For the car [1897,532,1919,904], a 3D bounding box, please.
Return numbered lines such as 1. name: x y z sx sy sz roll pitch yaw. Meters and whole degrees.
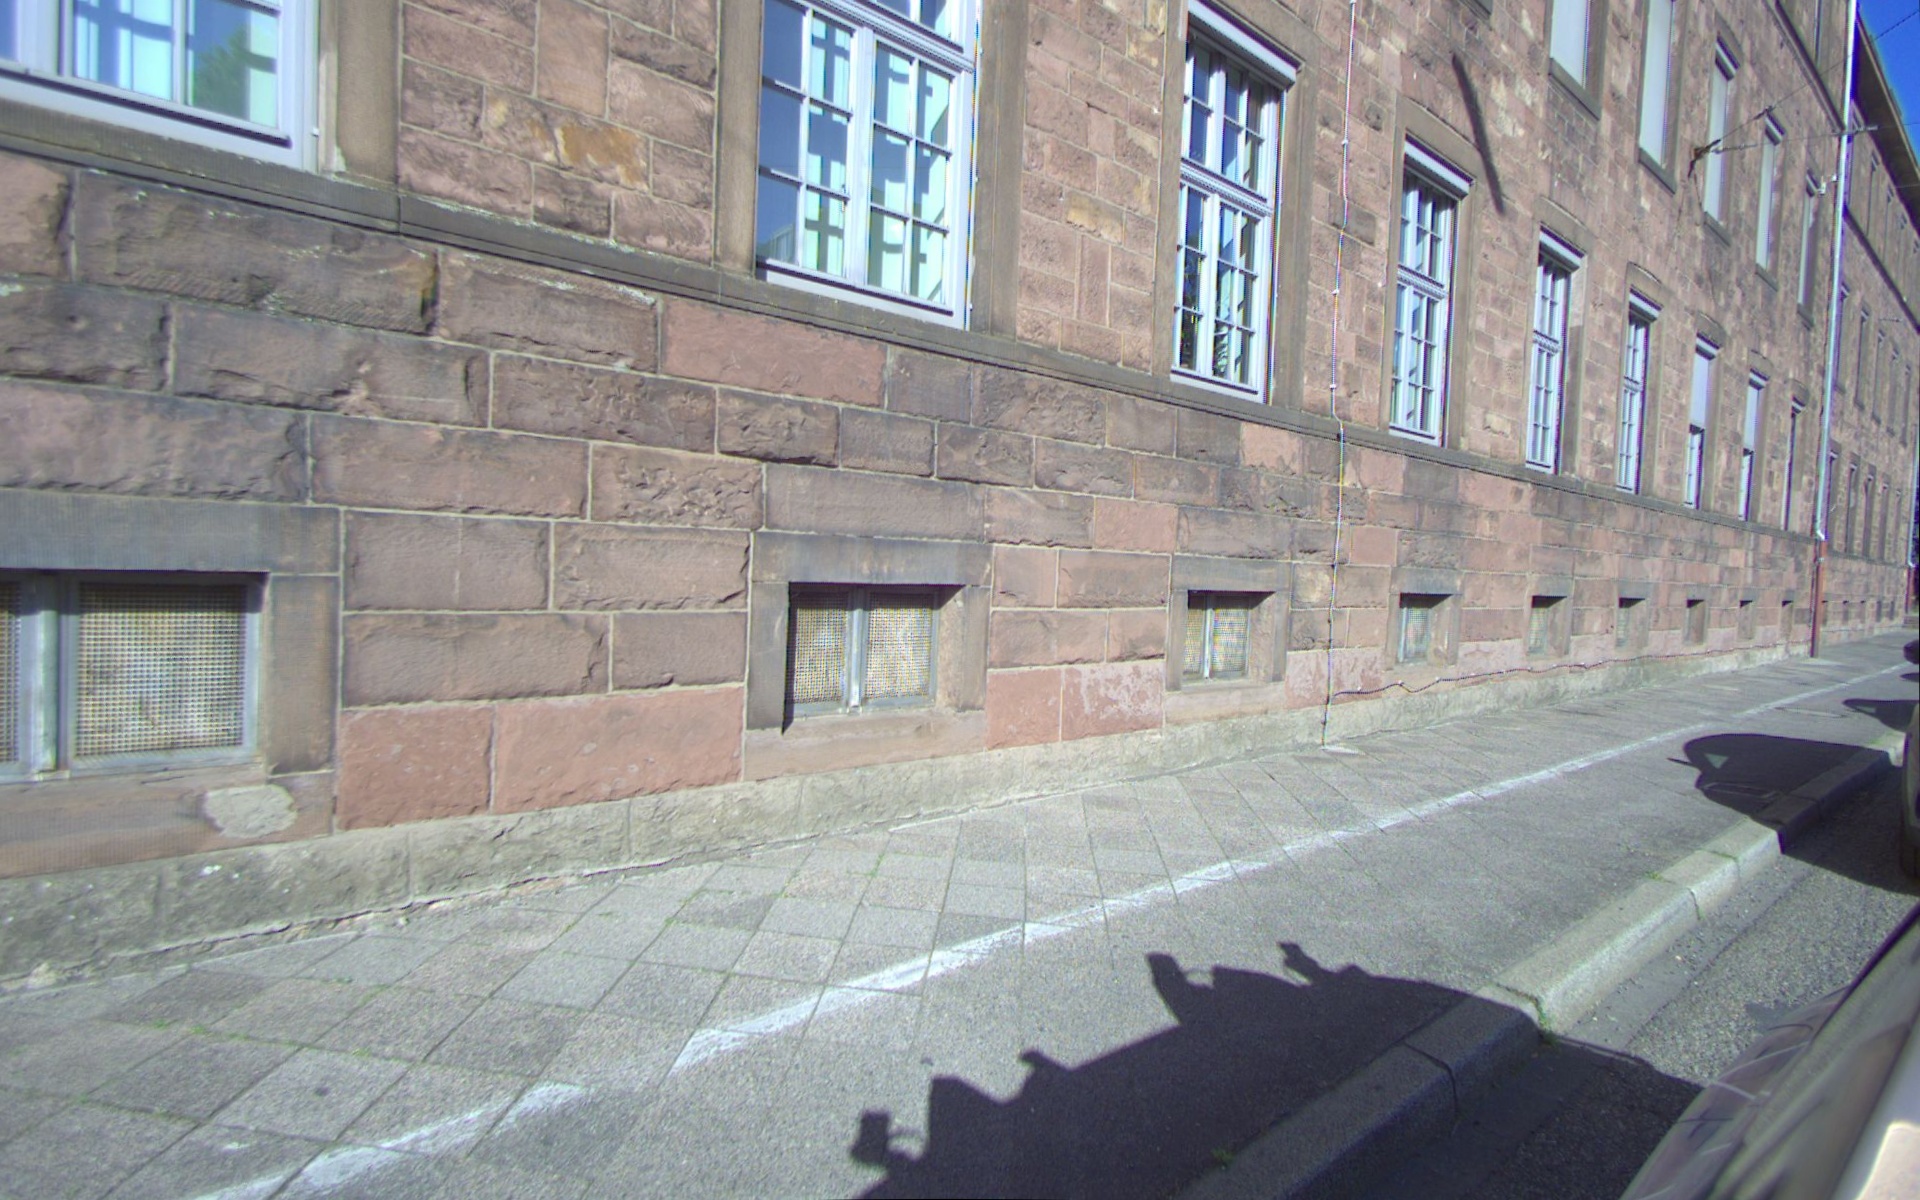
1. car: 6.123 0.533 5.065 3.735 1.624 1.793 -1 2 -43
